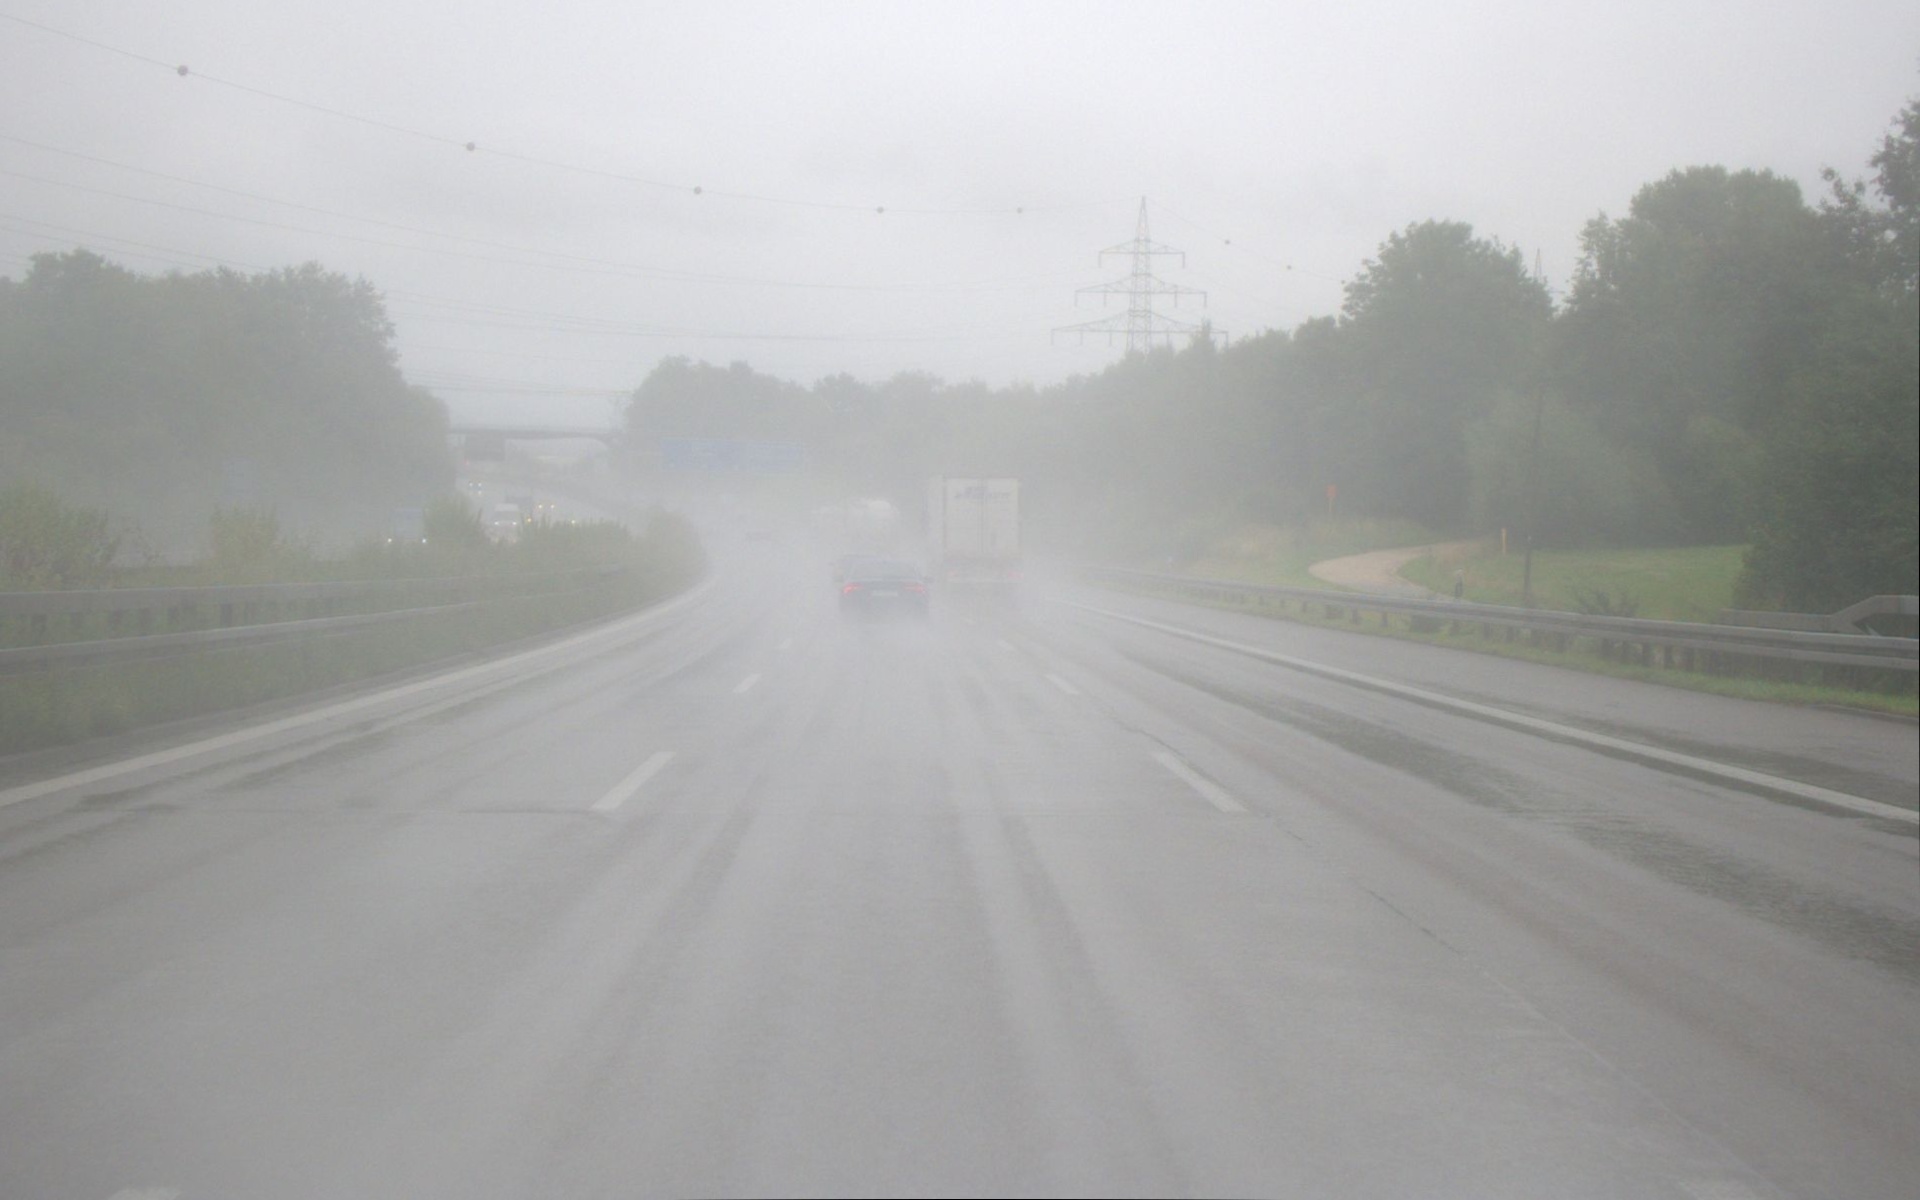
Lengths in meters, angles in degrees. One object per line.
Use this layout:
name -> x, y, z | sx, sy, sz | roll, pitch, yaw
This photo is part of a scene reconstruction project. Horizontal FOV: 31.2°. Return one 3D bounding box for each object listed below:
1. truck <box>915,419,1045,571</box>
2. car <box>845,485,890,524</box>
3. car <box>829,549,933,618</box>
truck -> 0.872, -3.676, 121.031 | 4.257, 4.955, 17.341 | 0, 2, 1
car -> -5.652, -5.810, 209.022 | 2.393, 2.264, 5.003 | 2, 2, -4
car -> -1.543, -0.339, 68.072 | 1.749, 1.208, 4.000 | 3, 1, 2
